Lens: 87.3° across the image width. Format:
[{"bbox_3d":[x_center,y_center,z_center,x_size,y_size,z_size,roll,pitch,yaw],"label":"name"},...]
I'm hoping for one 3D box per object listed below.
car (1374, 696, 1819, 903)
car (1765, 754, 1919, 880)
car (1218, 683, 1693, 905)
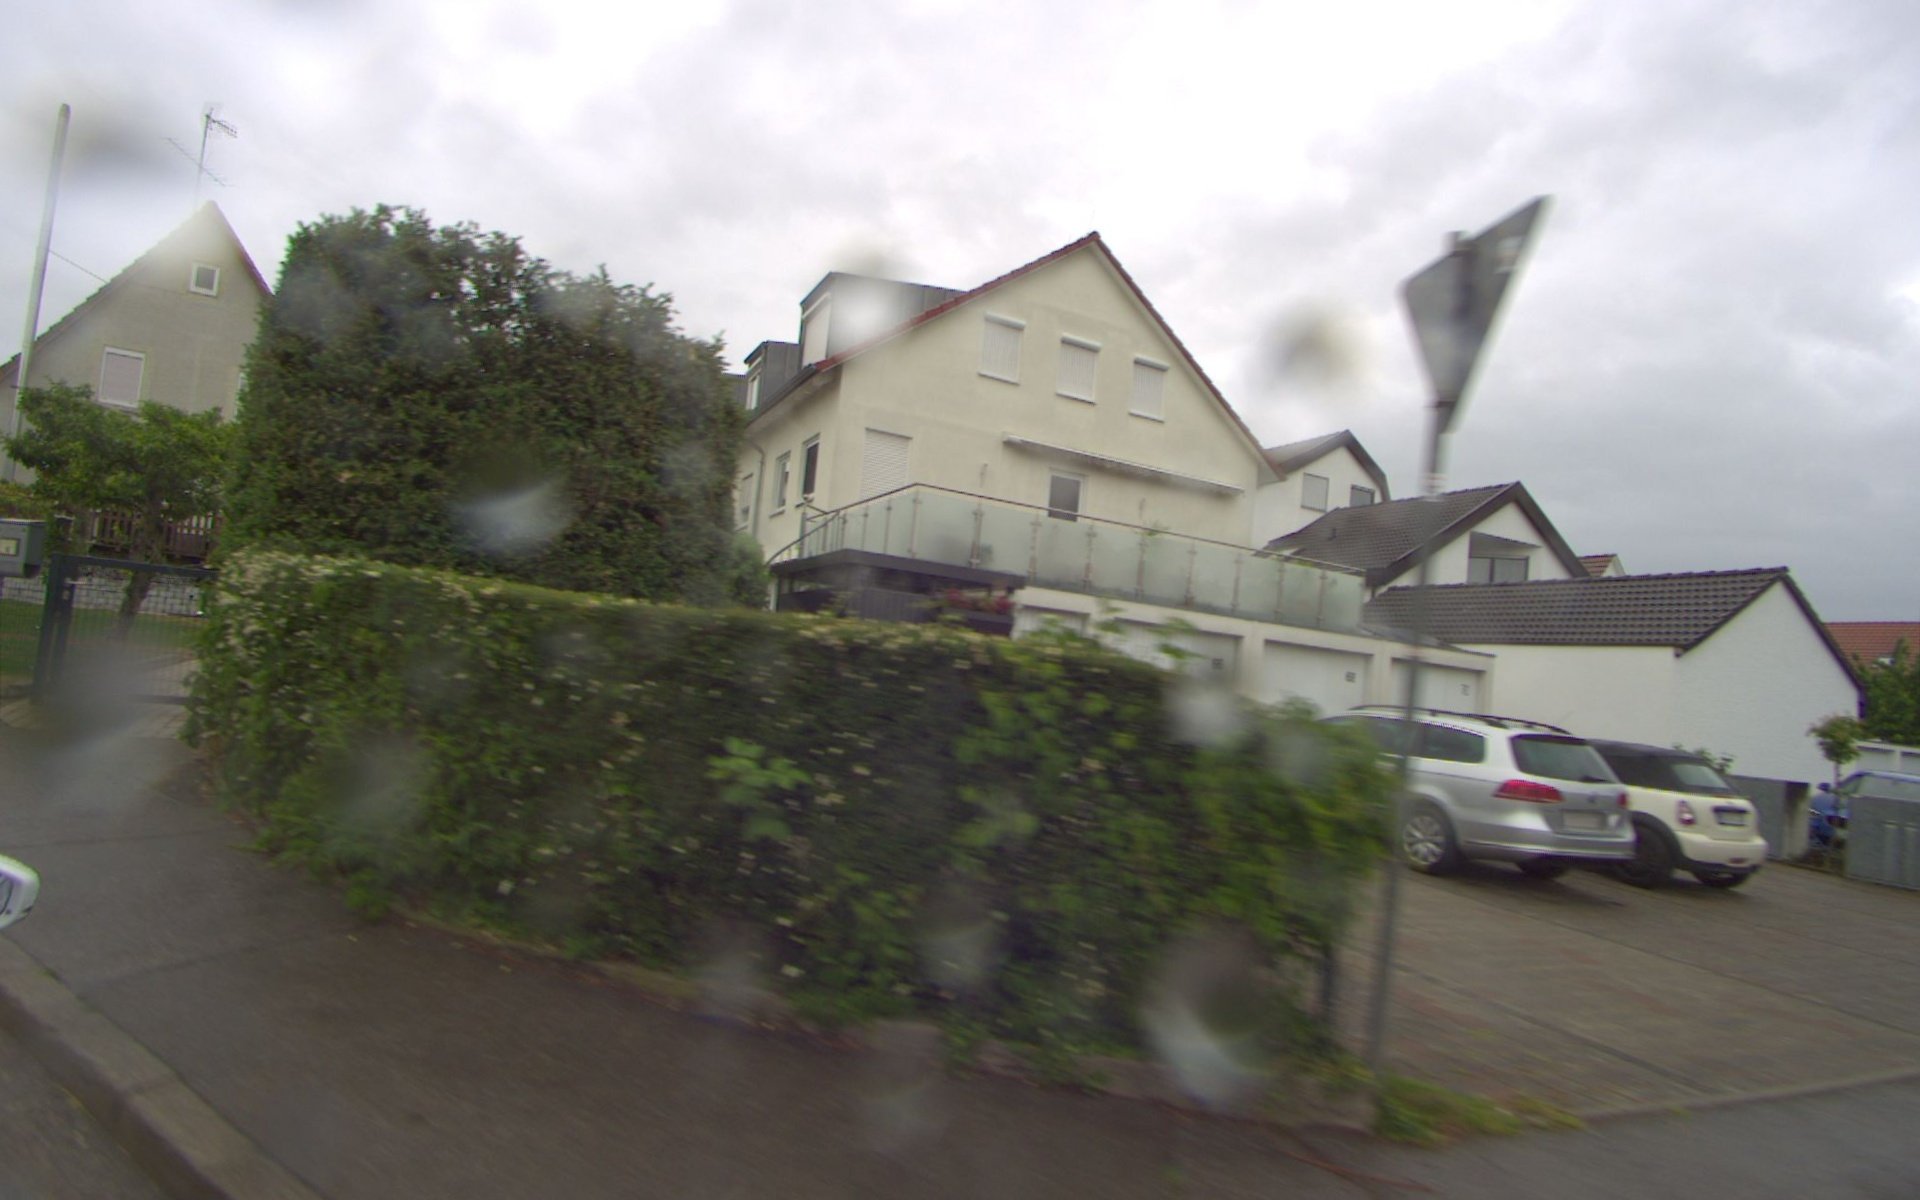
[{"bbox_3d":[7.271,2.232,12.007,1.973,1.548,3.981,7,-1,-22],"label":"car"},{"bbox_3d":[14.778,3.456,15.992,3.963,1.480,1.854,9,-3,-33],"label":"car"},{"bbox_3d":[4.868,1.881,10.622,1.973,1.415,4.129,7,-1,-22],"label":"car"}]
